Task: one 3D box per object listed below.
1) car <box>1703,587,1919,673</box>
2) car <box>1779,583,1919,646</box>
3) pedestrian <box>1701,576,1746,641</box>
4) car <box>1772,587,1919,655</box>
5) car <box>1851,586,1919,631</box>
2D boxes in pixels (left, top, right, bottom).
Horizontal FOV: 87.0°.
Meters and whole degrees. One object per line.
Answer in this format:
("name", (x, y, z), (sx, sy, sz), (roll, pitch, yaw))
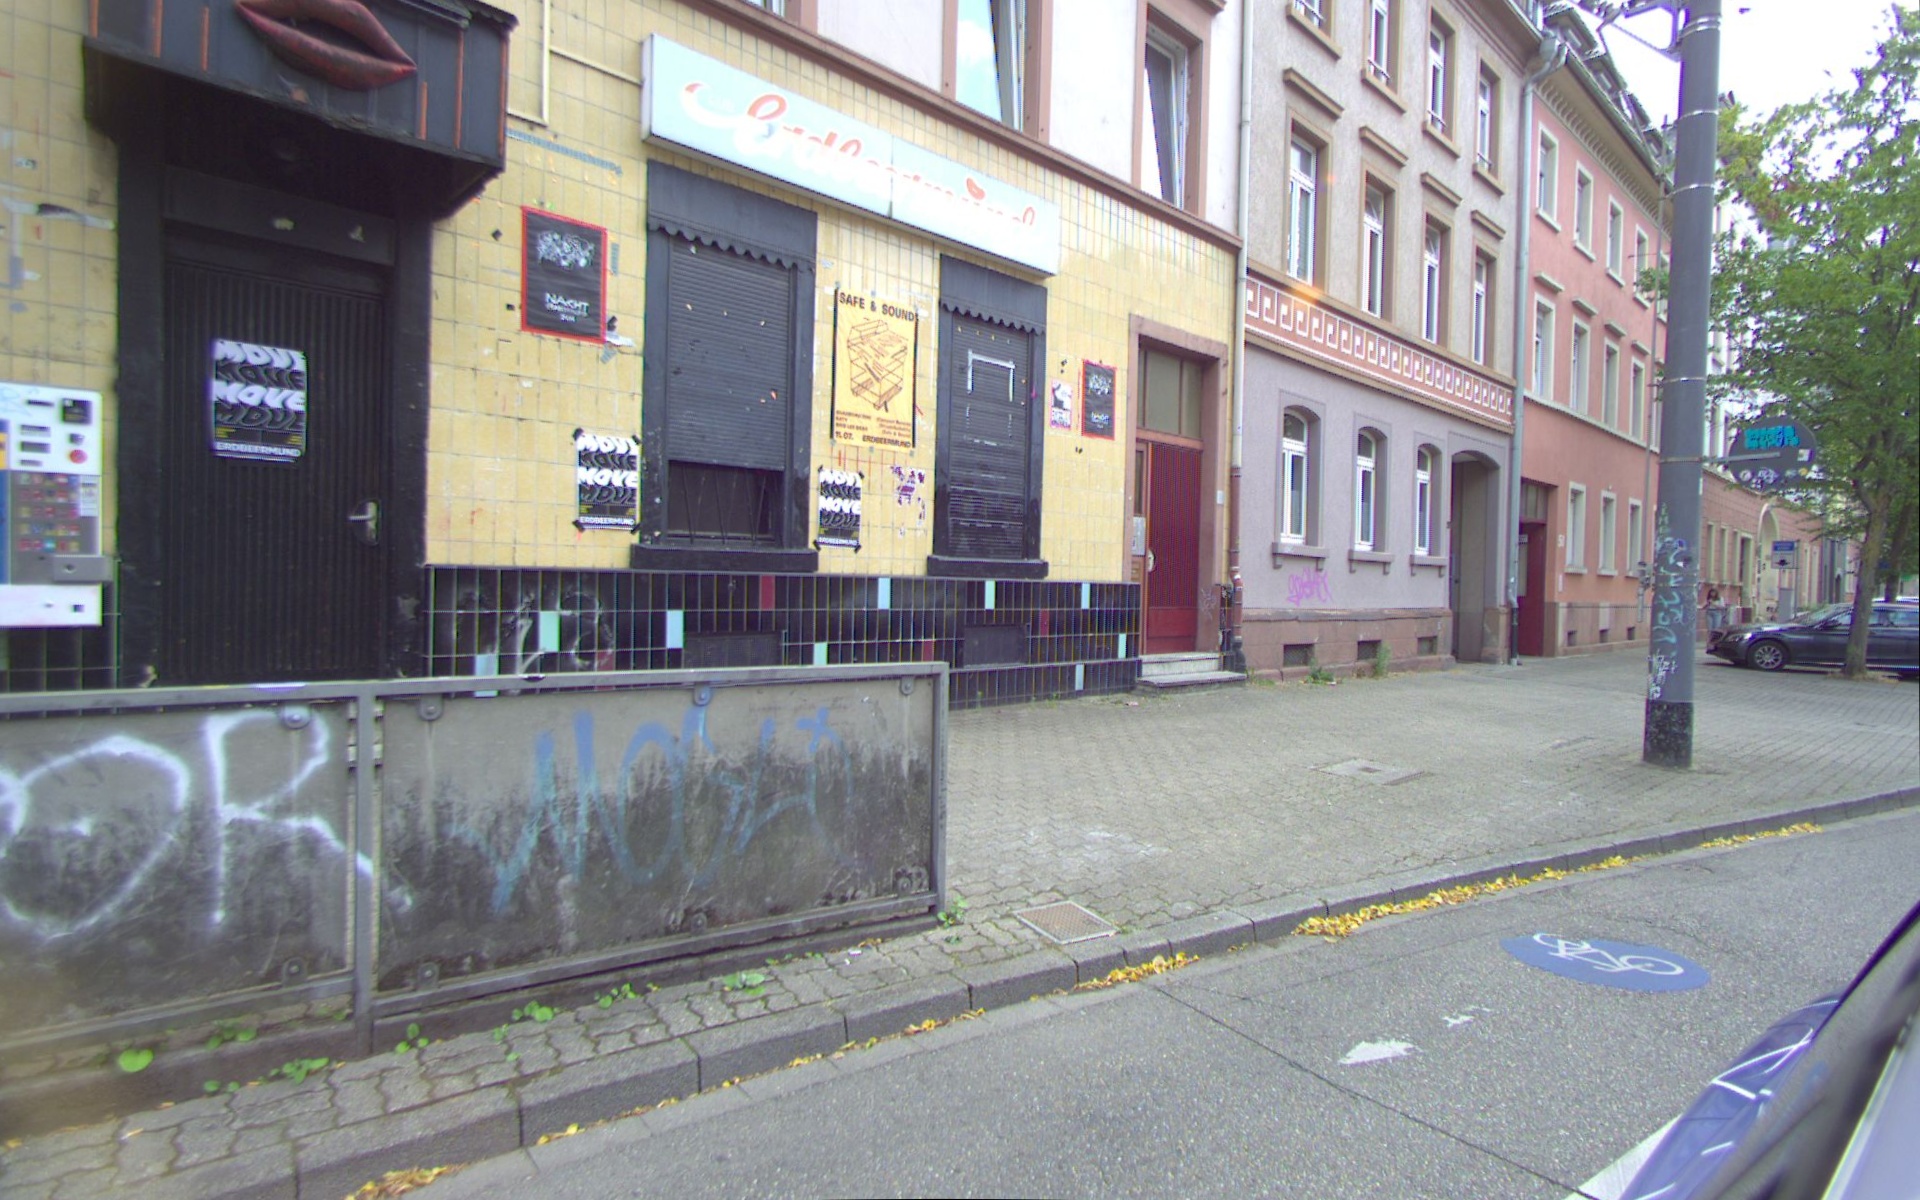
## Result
("car", (18.021, 0.591, 20.366), (4.581, 1.491, 1.774), (3, 2, 25))
("car", (27.682, 0.437, 30.553), (4.196, 1.719, 1.725), (3, 2, 25))
("pedestrian", (21.313, 0.227, 28.247), (0.910, 1.708, 0.732), (1, 4, -42))
("car", (23.131, 0.532, 25.086), (4.301, 1.498, 1.774), (3, 2, 25))
("car", (39.014, 0.397, 40.517), (4.581, 1.719, 1.901), (3, 2, 25))
